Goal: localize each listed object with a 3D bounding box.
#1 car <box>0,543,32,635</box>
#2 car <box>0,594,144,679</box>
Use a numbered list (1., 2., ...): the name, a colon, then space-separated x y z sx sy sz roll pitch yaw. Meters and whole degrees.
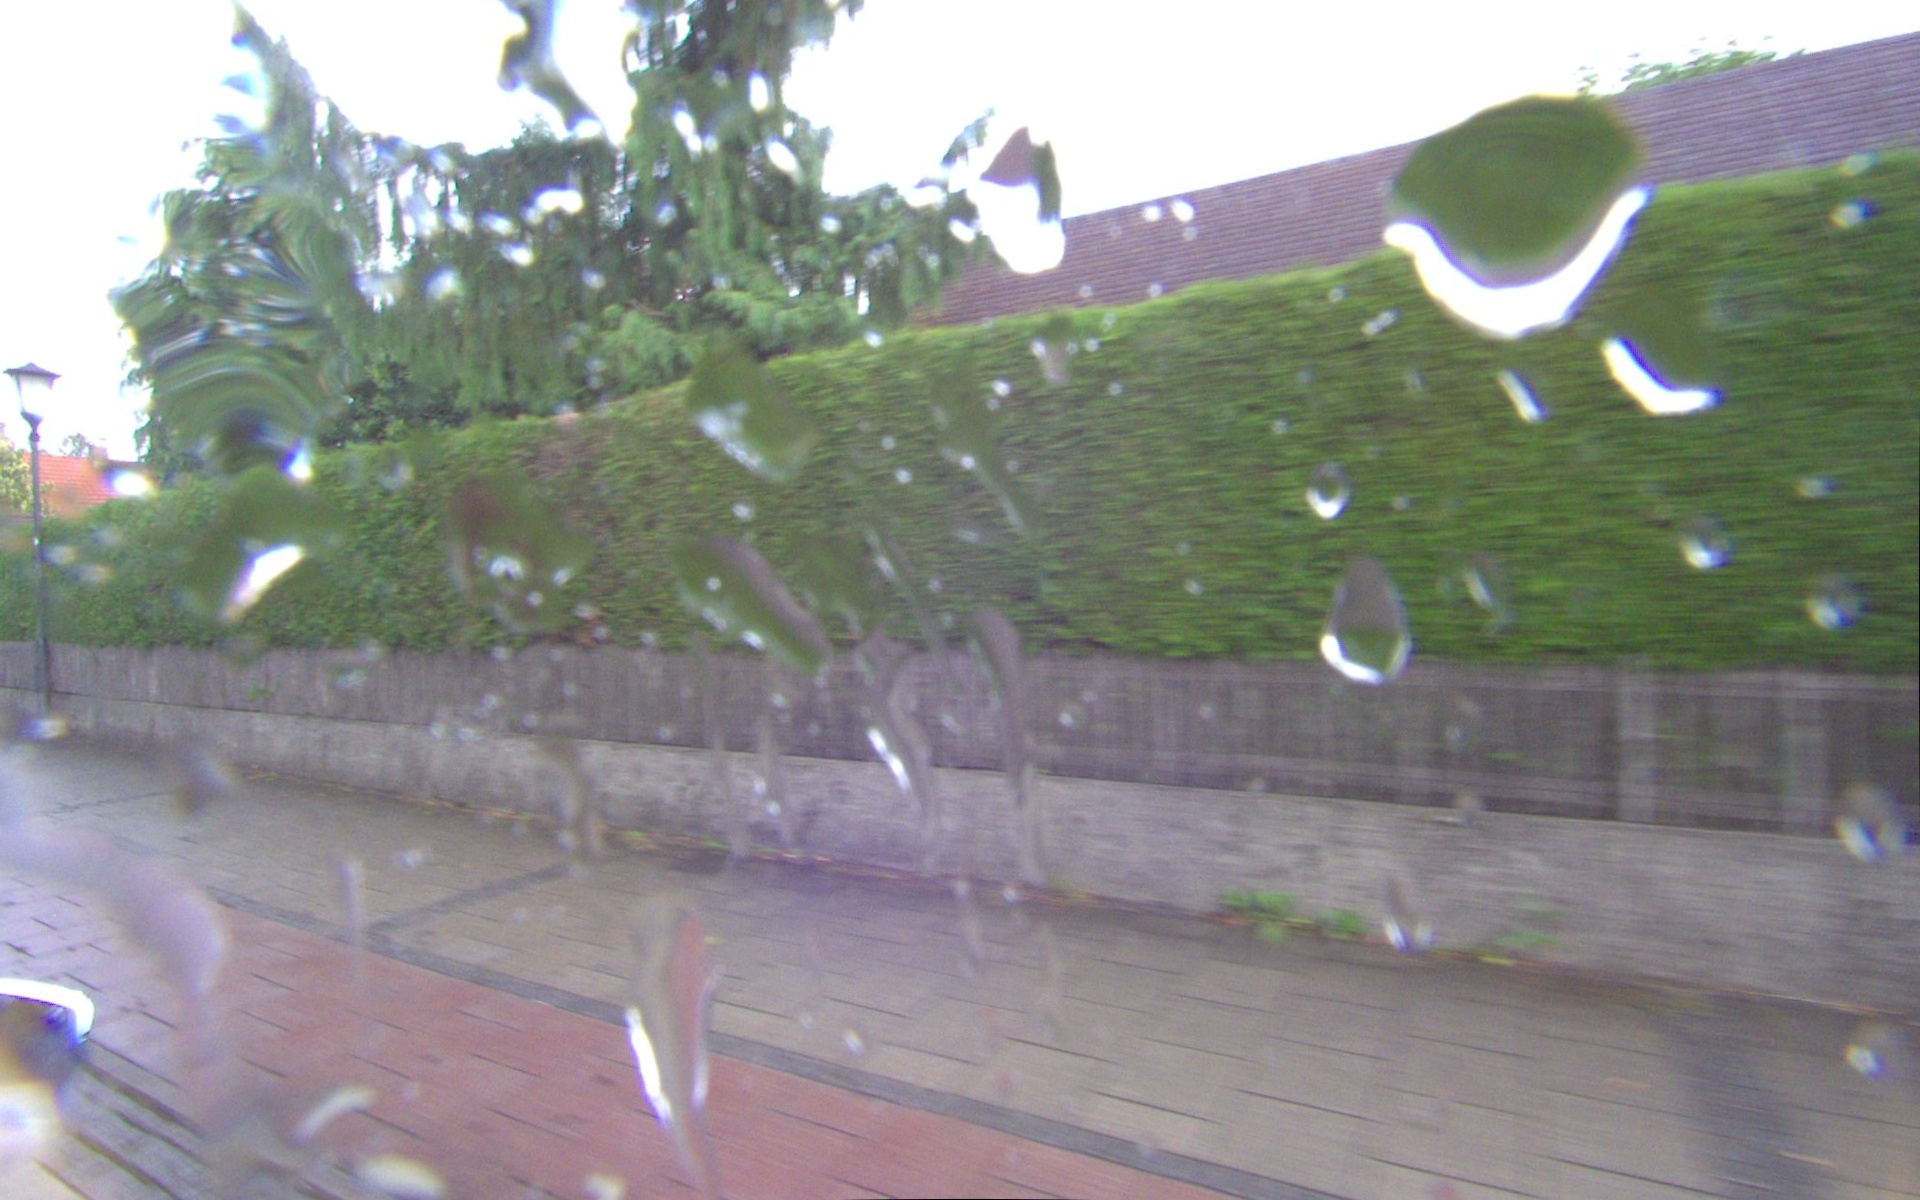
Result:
1. car: -25.510 -0.220 24.621 4.868 2.201 1.996 -1 -2 21
2. car: -21.006 0.778 22.289 1.669 1.776 4.086 2 2 30
